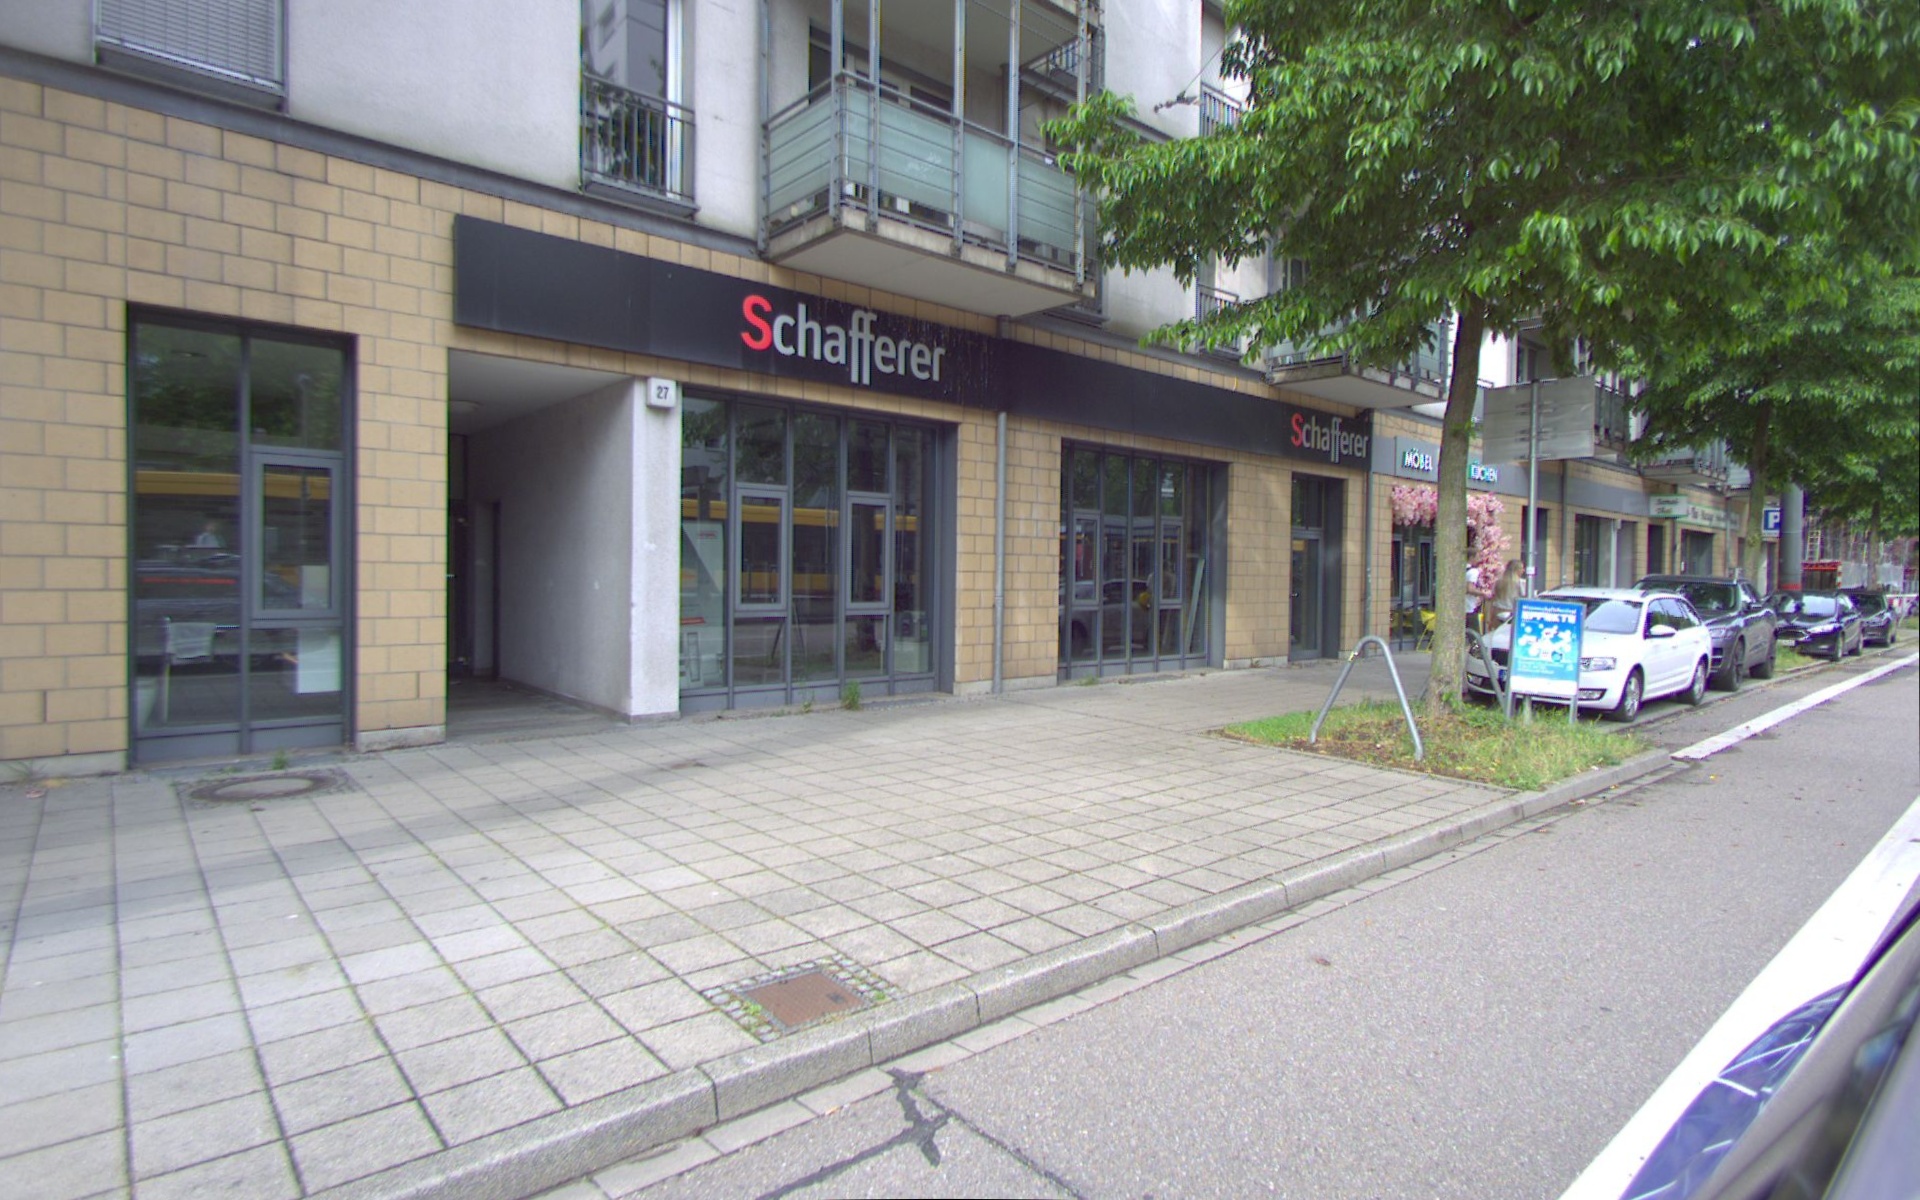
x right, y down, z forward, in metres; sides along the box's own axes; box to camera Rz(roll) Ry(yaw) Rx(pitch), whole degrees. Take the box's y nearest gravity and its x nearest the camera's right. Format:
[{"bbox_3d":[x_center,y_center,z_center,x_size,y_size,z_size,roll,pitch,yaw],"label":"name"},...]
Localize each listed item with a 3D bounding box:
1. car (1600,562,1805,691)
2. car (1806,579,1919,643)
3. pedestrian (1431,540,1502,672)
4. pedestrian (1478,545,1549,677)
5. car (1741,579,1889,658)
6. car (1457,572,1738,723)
[{"bbox_3d":[12.067,0.311,16.317,4.632,1.737,1.715,-1,5,-42],"label":"car"},{"bbox_3d":[24.270,0.224,27.164,4.315,1.472,1.800,-1,5,-43],"label":"car"},{"bbox_3d":[7.596,0.069,15.170,0.724,1.914,0.677,0,2,-39],"label":"pedestrian"},{"bbox_3d":[7.910,0.144,14.468,0.724,1.828,0.617,0,2,-39],"label":"pedestrian"},{"bbox_3d":[18.711,0.326,22.083,4.329,1.459,1.681,-1,4,-40],"label":"car"},{"bbox_3d":[8.120,0.456,12.742,4.312,1.517,1.681,-1,4,-40],"label":"car"}]
